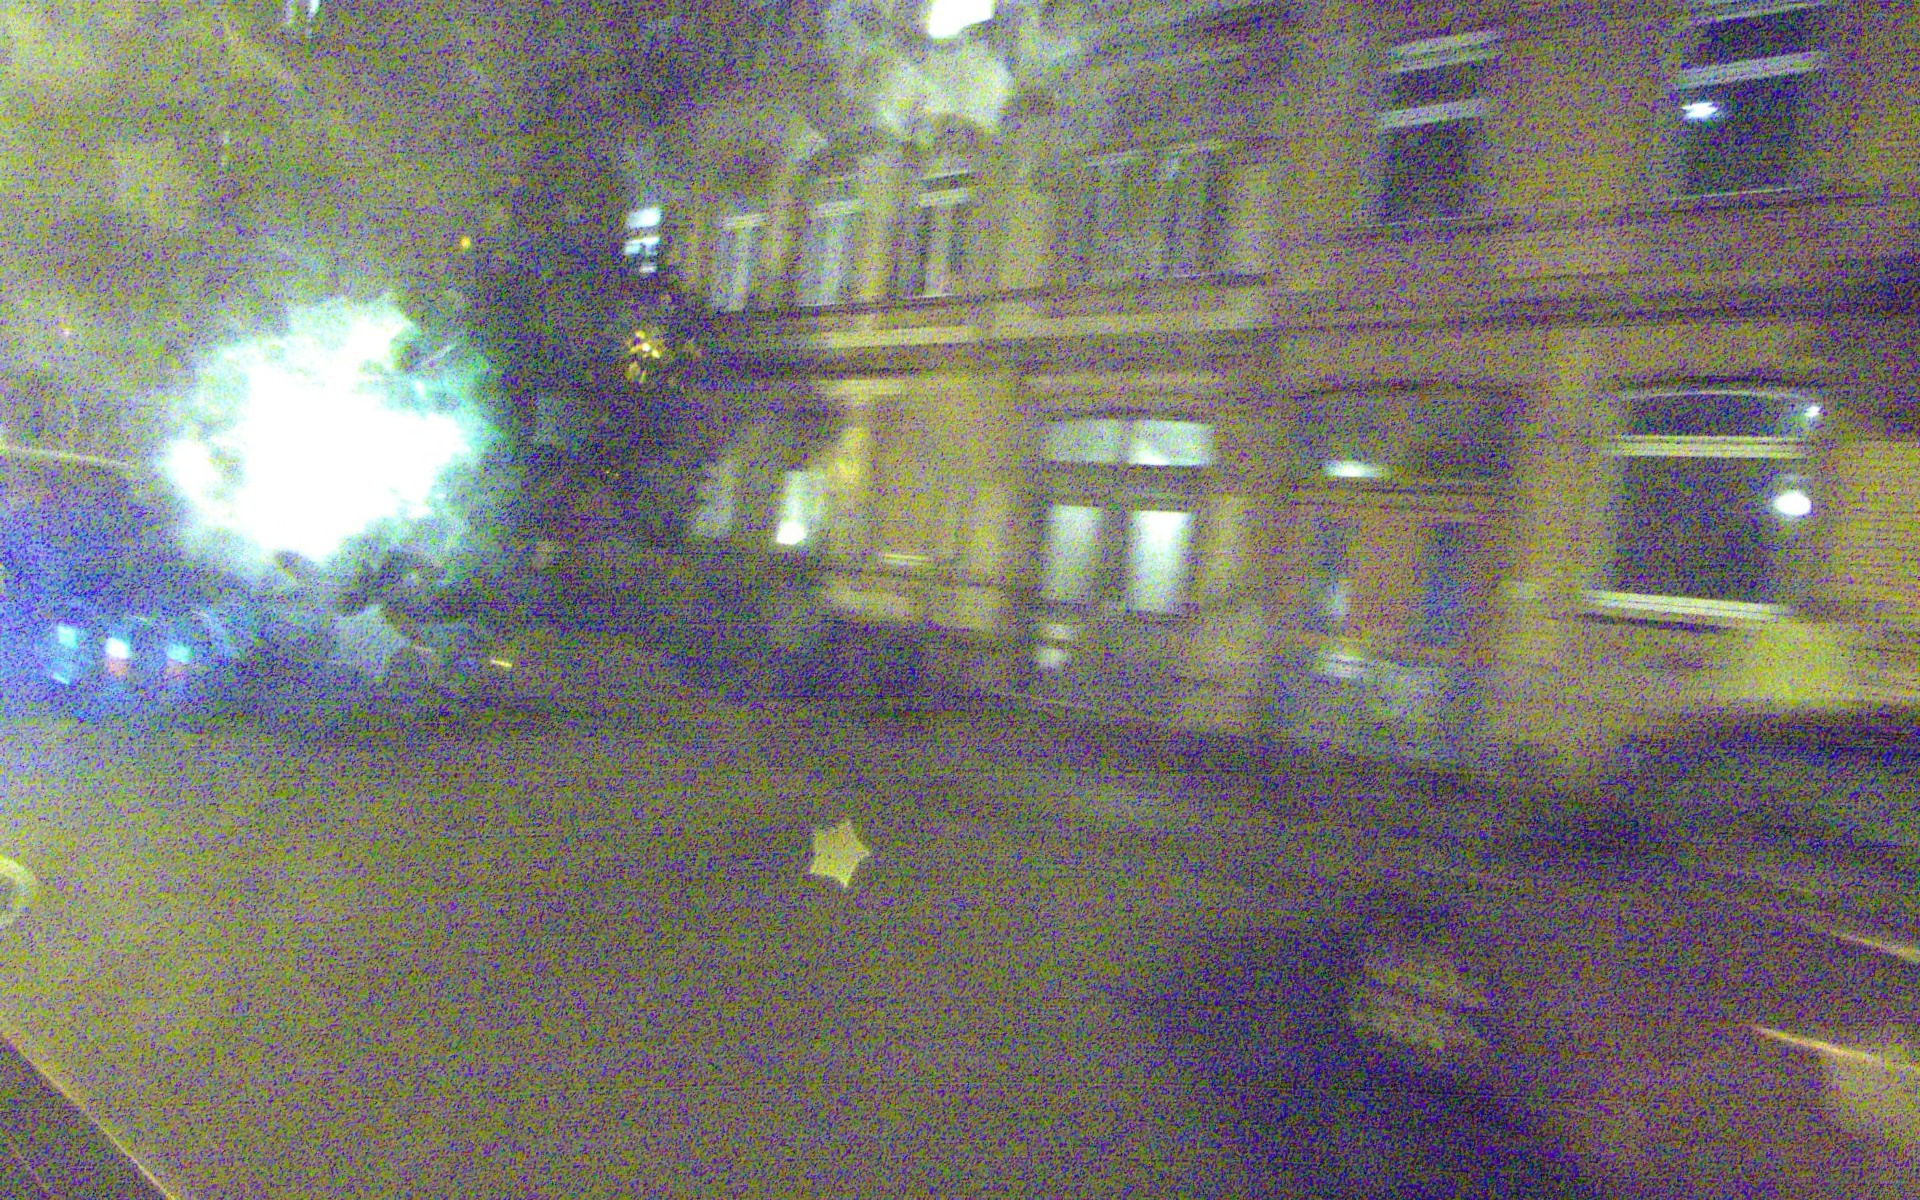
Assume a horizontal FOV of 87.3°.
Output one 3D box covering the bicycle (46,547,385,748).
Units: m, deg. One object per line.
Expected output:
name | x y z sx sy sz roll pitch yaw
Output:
bicycle | -4.906 0.301 6.682 1.793 1.090 0.519 6 2 0

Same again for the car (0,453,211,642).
car | -9.574 -0.567 9.836 1.615 1.734 3.564 6 1 3

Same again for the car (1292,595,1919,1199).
car | 2.356 0.911 2.460 1.564 1.601 3.649 7 1 -3

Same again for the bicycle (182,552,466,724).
bicycle | -4.894 0.282 7.794 1.793 1.090 0.519 6 2 0

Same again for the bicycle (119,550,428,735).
bicycle | -4.903 0.294 7.242 1.793 1.090 0.519 6 2 0

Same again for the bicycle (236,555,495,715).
bicycle | -4.878 0.279 8.297 1.793 1.090 0.446 6 2 0

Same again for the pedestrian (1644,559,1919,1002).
pedestrian | 4.143 0.805 4.982 0.976 1.880 0.869 7 3 29

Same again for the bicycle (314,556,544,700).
bicycle | -4.855 0.248 9.235 1.793 1.090 0.446 6 2 0

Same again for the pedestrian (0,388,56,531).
pedestrian | -24.591 -3.665 26.345 0.778 3.570 0.892 7 0 31

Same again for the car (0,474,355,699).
car | -7.157 -0.184 8.232 1.701 1.512 3.998 6 1 4

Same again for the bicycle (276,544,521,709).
bicycle | -4.871 0.223 8.771 1.793 1.206 0.446 6 2 0

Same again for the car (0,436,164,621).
car | -11.798 -0.924 11.057 2.028 2.074 4.800 7 0 1
